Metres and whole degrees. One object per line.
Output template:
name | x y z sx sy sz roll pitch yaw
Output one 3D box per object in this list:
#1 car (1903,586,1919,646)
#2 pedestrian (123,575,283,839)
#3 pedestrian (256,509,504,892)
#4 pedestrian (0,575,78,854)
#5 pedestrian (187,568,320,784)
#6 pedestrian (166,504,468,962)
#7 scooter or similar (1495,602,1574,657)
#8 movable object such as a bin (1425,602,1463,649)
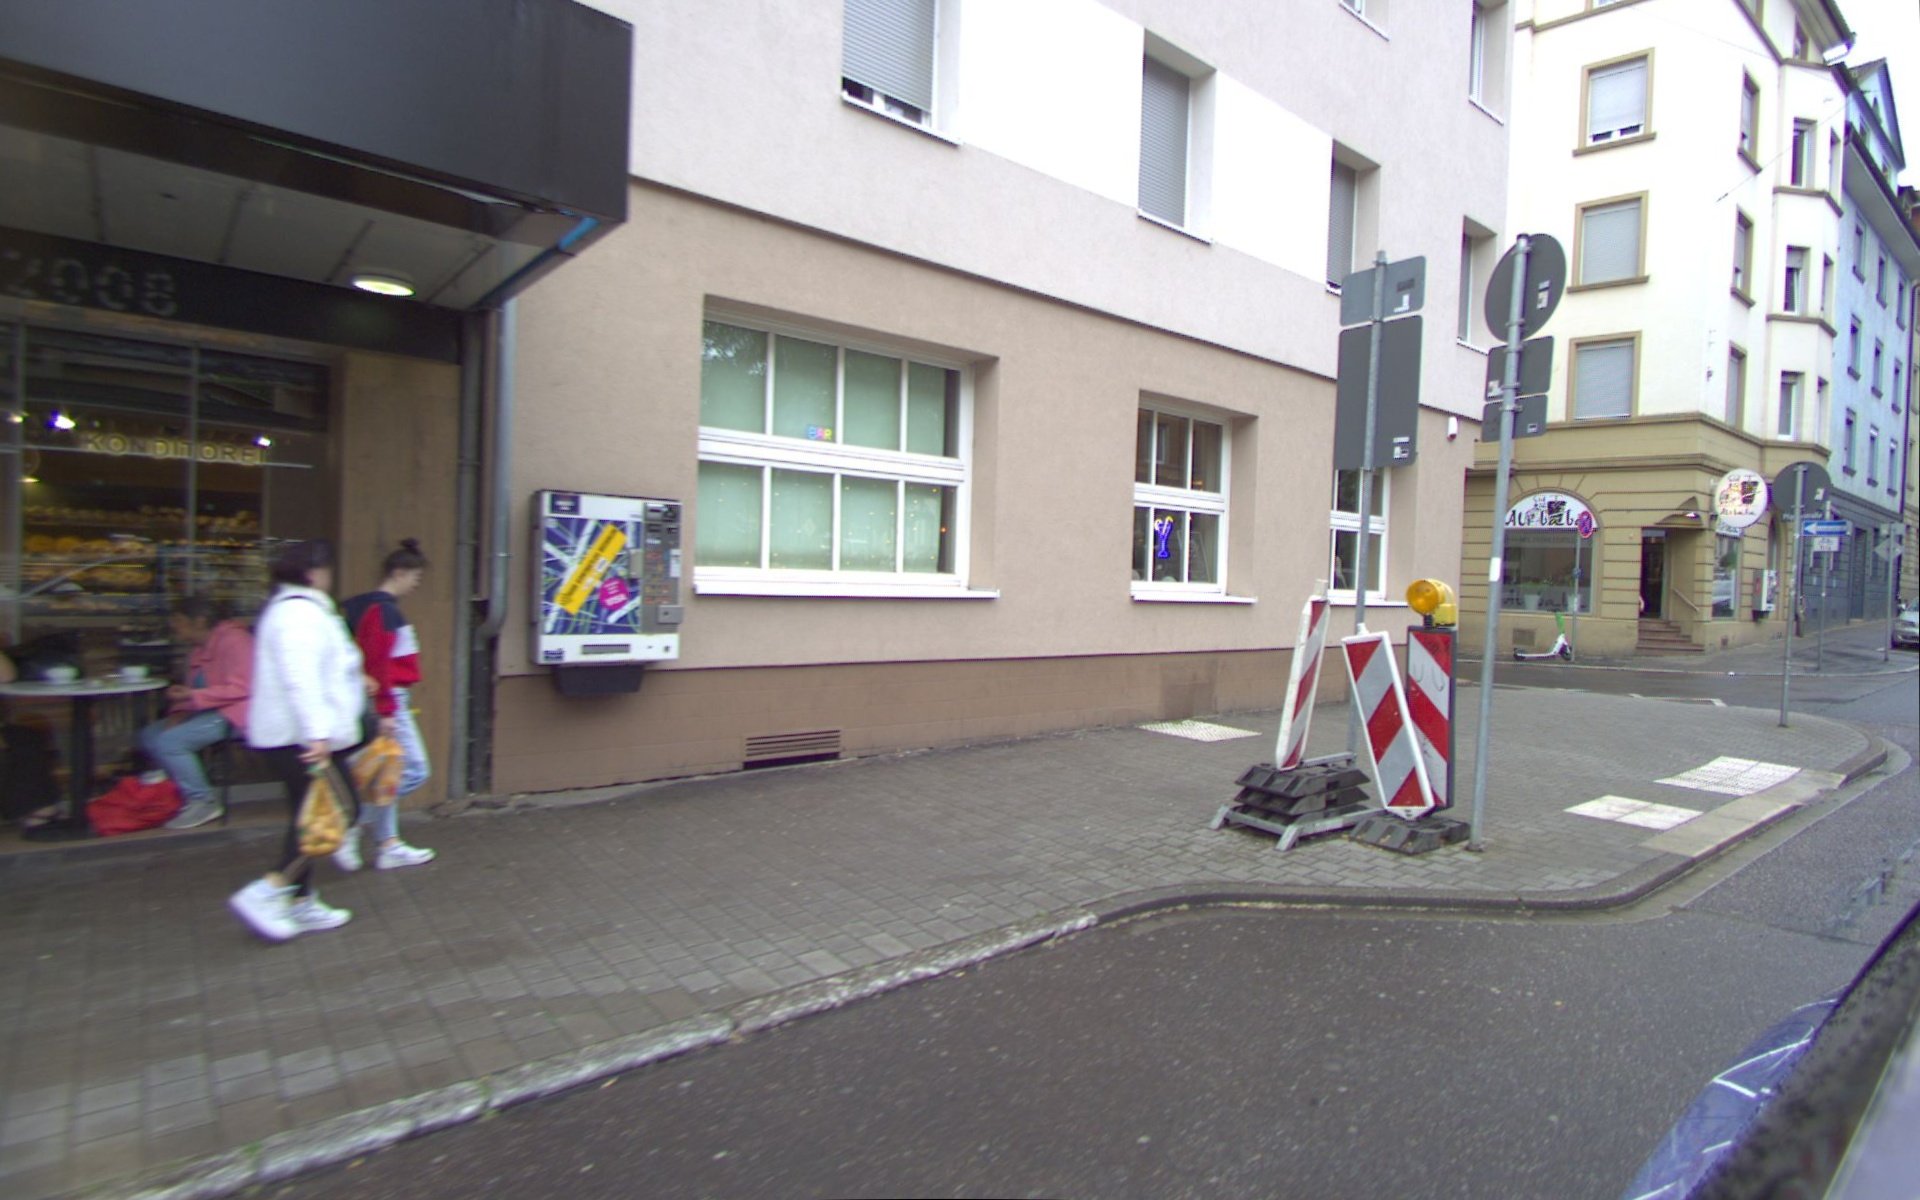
car | 25.866 0.397 26.106 4.132 1.482 1.854 -1 2 -41
pedestrian | -4.096 0.527 5.474 0.647 1.273 0.703 1 3 -40
pedestrian | -2.704 0.434 4.794 0.767 1.667 0.705 2 3 -5
pedestrian | -4.772 0.533 4.903 0.645 1.273 0.625 1 3 -32
pedestrian | -4.604 0.454 6.587 0.647 1.273 0.703 1 3 -40
pedestrian | -2.527 0.482 4.060 0.767 1.667 0.705 2 3 -5
scooter or similar | 12.995 0.666 22.920 1.457 1.163 0.486 -1 5 13
movable object such as a bin | 11.958 0.608 24.986 0.674 1.089 0.694 1 3 42
